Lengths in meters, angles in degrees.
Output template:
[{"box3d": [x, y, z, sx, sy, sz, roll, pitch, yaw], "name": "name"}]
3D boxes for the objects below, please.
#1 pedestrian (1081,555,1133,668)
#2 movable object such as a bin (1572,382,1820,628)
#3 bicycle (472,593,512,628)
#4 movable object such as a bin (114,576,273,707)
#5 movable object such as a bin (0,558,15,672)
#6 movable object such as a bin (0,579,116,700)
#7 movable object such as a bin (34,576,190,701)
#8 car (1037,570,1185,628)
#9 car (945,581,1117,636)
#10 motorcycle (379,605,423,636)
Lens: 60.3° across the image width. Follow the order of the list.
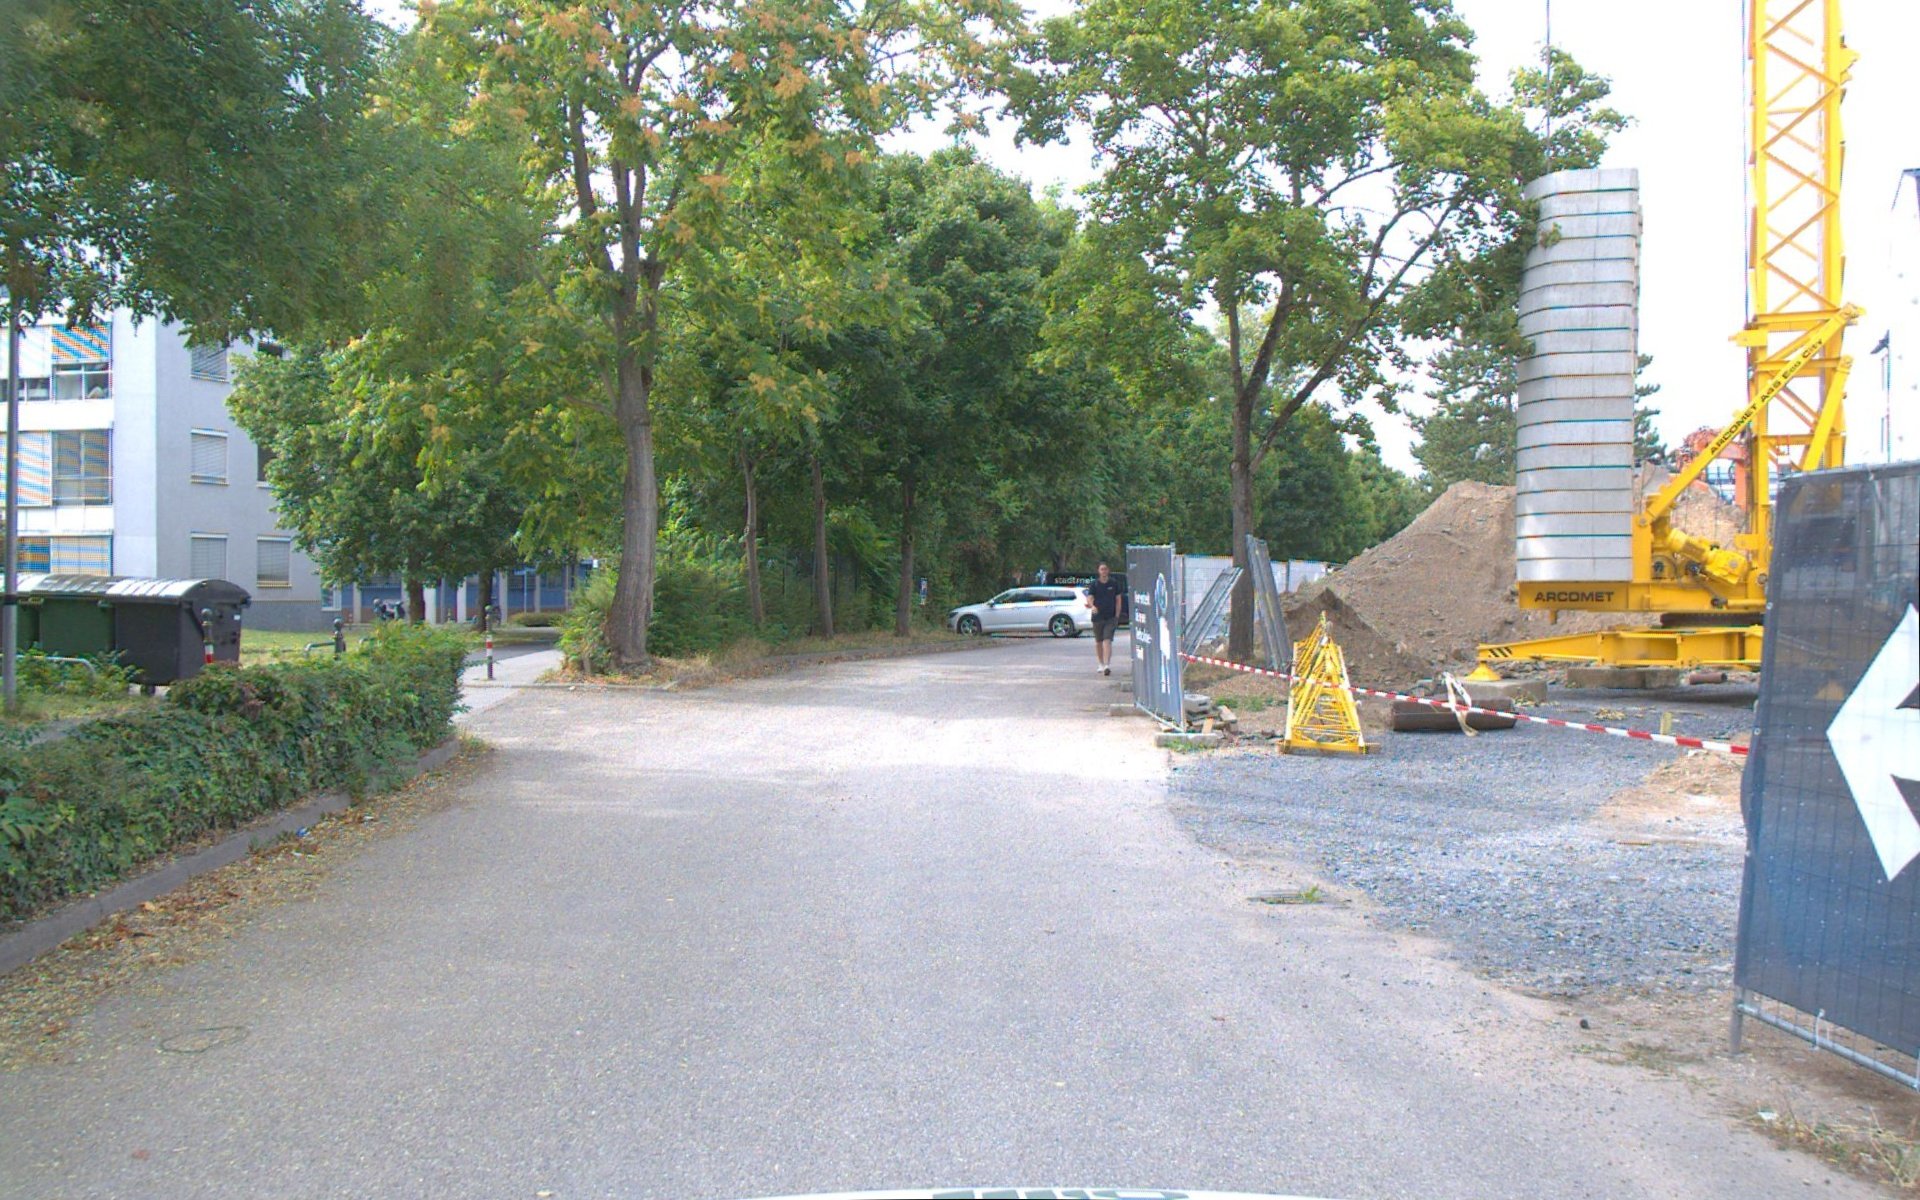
[{"box3d": [2.428, 0.183, 27.287, 0.732, 1.821, 0.731, 1, 0, 15], "name": "pedestrian"}, {"box3d": [22.894, -2.653, 50.990, 3.789, 6.786, 10.921, 1, 0, 42], "name": "movable object such as a bin"}, {"box3d": [-16.324, 0.345, 57.730, 0.636, 1.202, 1.902, 1, 0, 7], "name": "bicycle"}, {"box3d": [-8.929, 0.461, 19.292, 1.253, 1.455, 1.122, 1, 0, 21], "name": "movable object such as a bin"}, {"box3d": [-12.981, 0.188, 21.043, 1.253, 1.455, 1.122, 1, 0, 21], "name": "movable object such as a bin"}, {"box3d": [-11.463, 0.472, 20.618, 1.253, 1.455, 1.122, 1, 0, 21], "name": "movable object such as a bin"}, {"box3d": [-10.261, 0.443, 20.032, 1.253, 1.455, 1.122, 1, 0, 21], "name": "movable object such as a bin"}, {"box3d": [5.410, -0.040, 59.275, 4.940, 1.987, 2.001, 1, 0, 19], "name": "car"}, {"box3d": [2.097, 0.221, 48.277, 4.690, 1.514, 2.001, 1, 0, 15], "name": "car"}, {"box3d": [-24.801, 0.906, 73.398, 0.652, 1.313, 2.148, 1, 0, 19], "name": "motorcycle"}]
